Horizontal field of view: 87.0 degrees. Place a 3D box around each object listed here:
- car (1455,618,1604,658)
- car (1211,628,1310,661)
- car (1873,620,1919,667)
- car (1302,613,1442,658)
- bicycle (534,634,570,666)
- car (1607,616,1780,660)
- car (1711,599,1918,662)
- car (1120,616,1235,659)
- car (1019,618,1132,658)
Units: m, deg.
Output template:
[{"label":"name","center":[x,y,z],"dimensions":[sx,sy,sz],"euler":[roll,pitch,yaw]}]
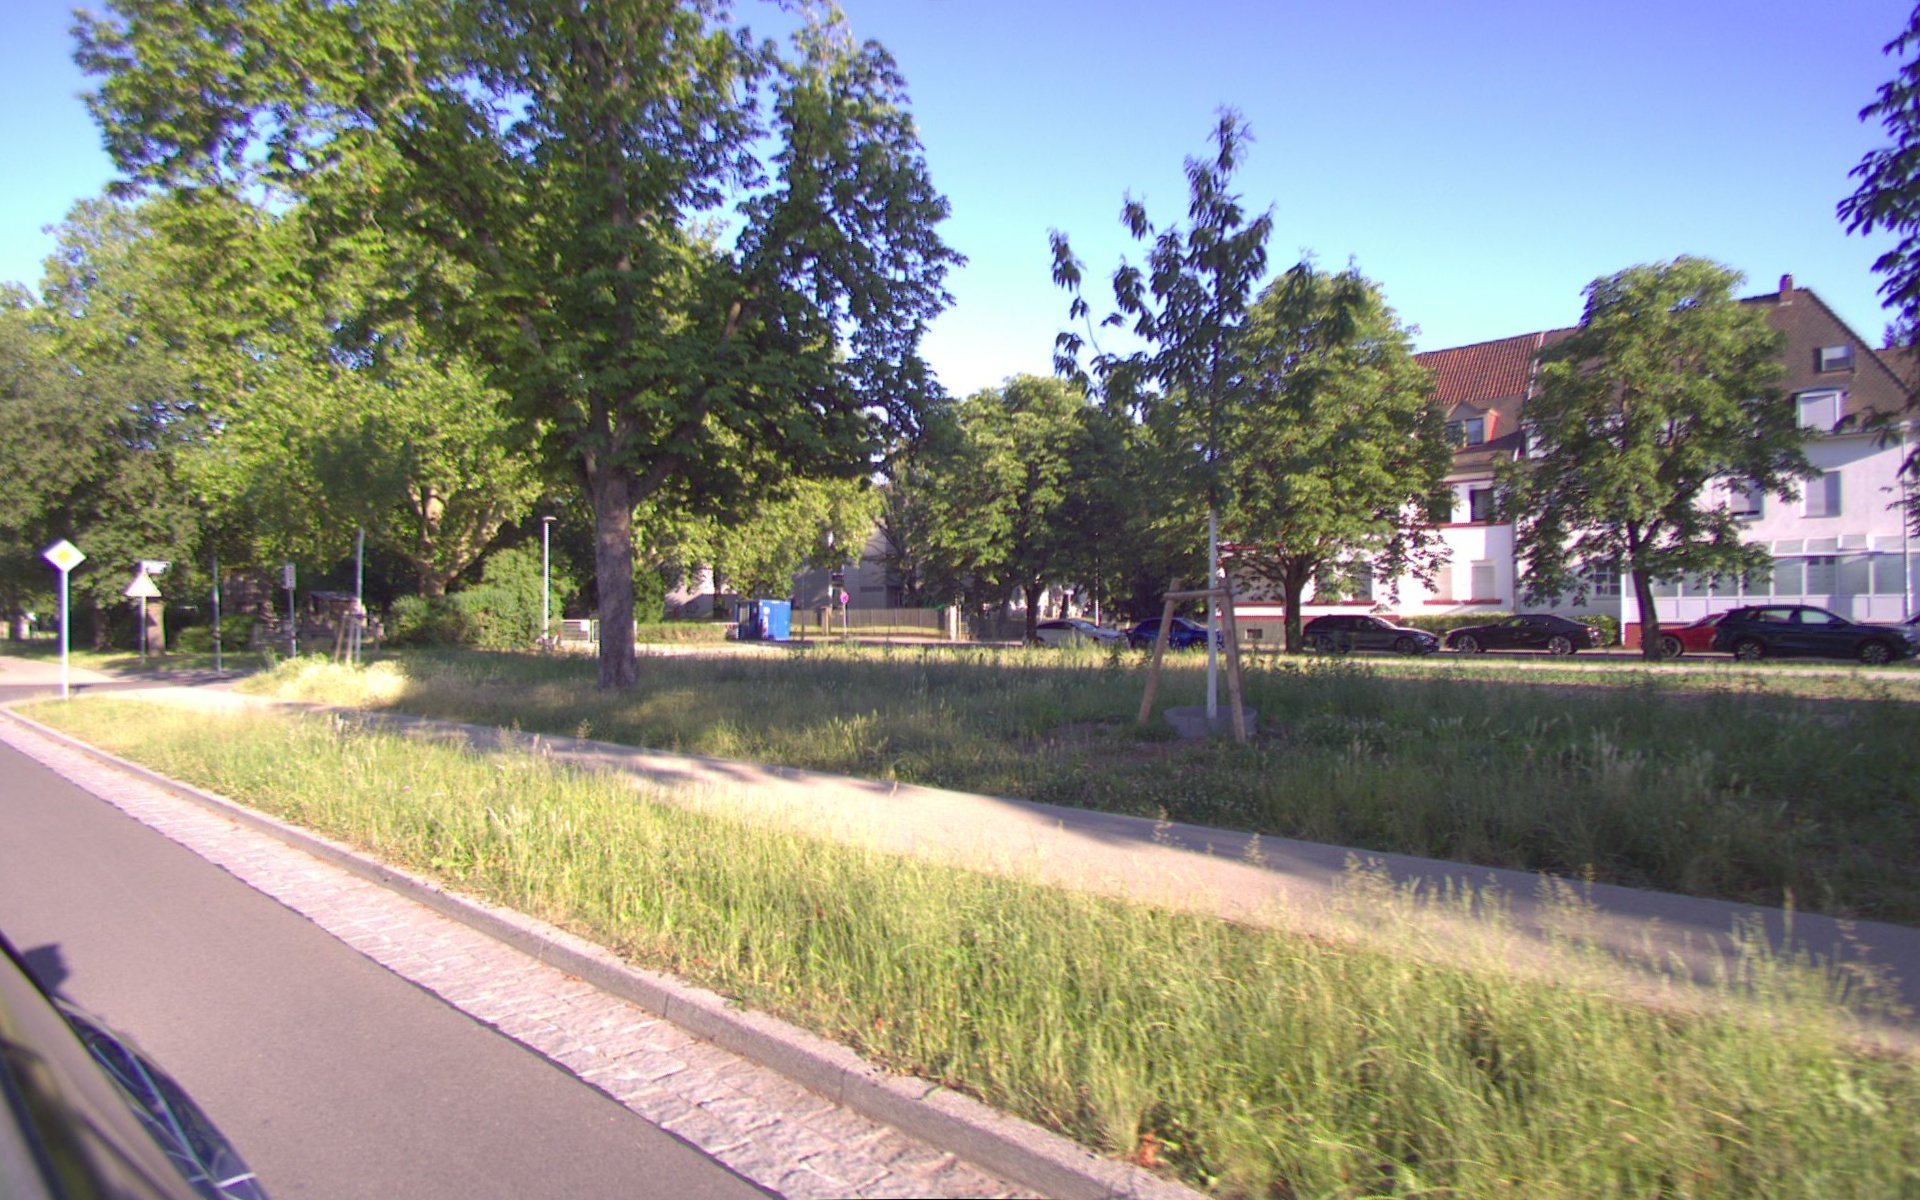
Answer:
[{"label":"car","center":[20.620,1.355,36.754],"dimensions":[4.480,1.342,1.553],"euler":[-2,0,42]},{"label":"car","center":[13.124,1.911,44.271],"dimensions":[3.851,1.342,1.553],"euler":[-2,0,42]},{"label":"car","center":[29.074,1.259,29.316],"dimensions":[3.851,1.342,1.553],"euler":[-2,0,42]},{"label":"car","center":[14.392,1.225,35.439],"dimensions":[4.217,1.487,1.676],"euler":[-2,-1,39]},{"label":"bicycle","center":[-16.249,1.987,40.313],"dimensions":[0.417,1.196,1.579],"euler":[0,-1,18]},{"label":"car","center":[24.222,1.229,33.536],"dimensions":[4.478,1.342,1.553],"euler":[-2,0,42]},{"label":"car","center":[23.323,0.832,27.800],"dimensions":[4.218,1.609,1.675],"euler":[-2,-1,40]},{"label":"car","center":[8.717,1.506,40.804],"dimensions":[4.216,1.609,1.676],"euler":[-2,-1,38]},{"label":"car","center":[4.986,1.642,44.105],"dimensions":[4.750,1.609,1.676],"euler":[-2,-1,38]}]
